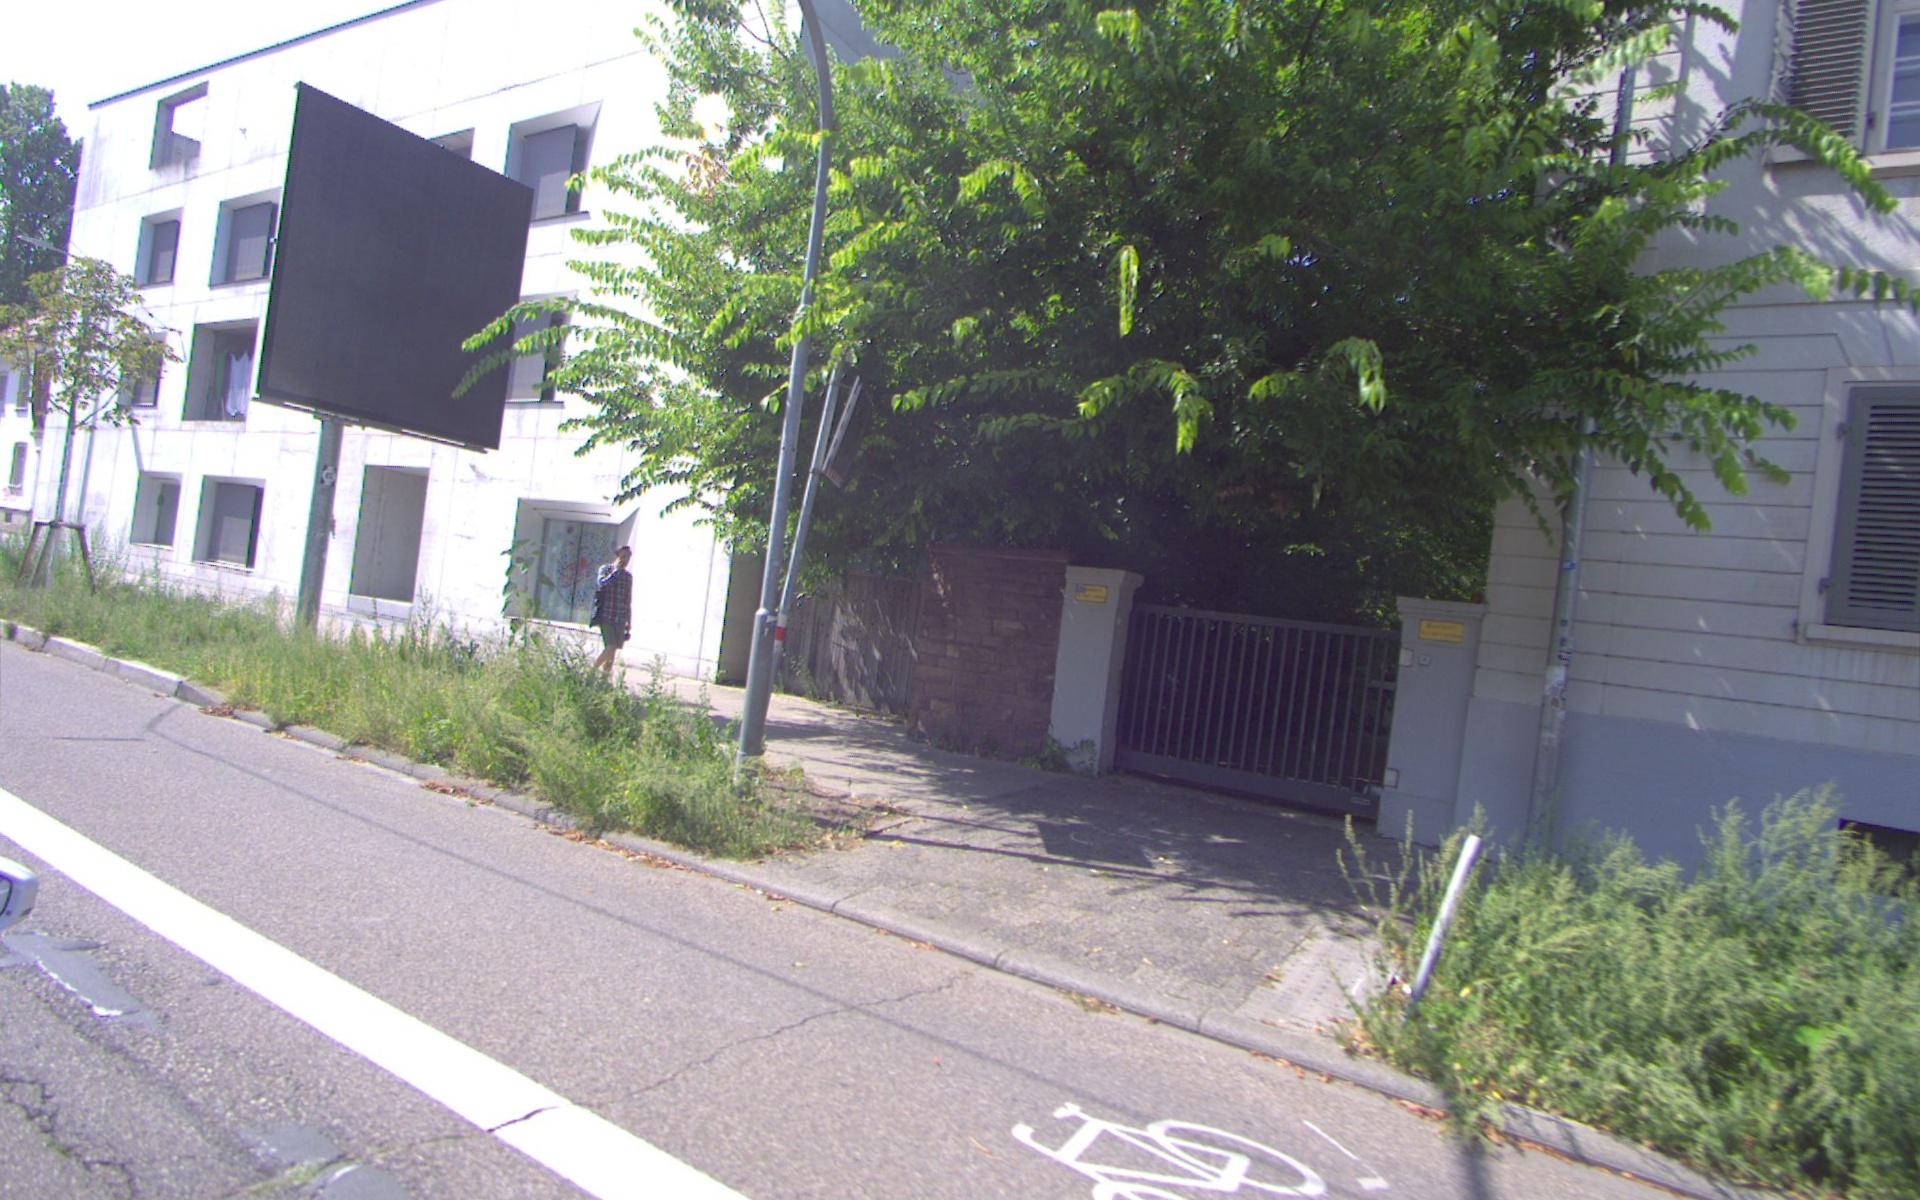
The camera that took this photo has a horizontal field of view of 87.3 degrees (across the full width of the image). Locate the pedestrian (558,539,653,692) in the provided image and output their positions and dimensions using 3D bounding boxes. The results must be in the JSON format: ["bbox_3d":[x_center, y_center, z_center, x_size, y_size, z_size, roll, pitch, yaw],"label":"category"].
[{"bbox_3d":[-4.270,0.198,12.137,0.570,1.753,0.692,7,0,33],"label":"pedestrian"}]
